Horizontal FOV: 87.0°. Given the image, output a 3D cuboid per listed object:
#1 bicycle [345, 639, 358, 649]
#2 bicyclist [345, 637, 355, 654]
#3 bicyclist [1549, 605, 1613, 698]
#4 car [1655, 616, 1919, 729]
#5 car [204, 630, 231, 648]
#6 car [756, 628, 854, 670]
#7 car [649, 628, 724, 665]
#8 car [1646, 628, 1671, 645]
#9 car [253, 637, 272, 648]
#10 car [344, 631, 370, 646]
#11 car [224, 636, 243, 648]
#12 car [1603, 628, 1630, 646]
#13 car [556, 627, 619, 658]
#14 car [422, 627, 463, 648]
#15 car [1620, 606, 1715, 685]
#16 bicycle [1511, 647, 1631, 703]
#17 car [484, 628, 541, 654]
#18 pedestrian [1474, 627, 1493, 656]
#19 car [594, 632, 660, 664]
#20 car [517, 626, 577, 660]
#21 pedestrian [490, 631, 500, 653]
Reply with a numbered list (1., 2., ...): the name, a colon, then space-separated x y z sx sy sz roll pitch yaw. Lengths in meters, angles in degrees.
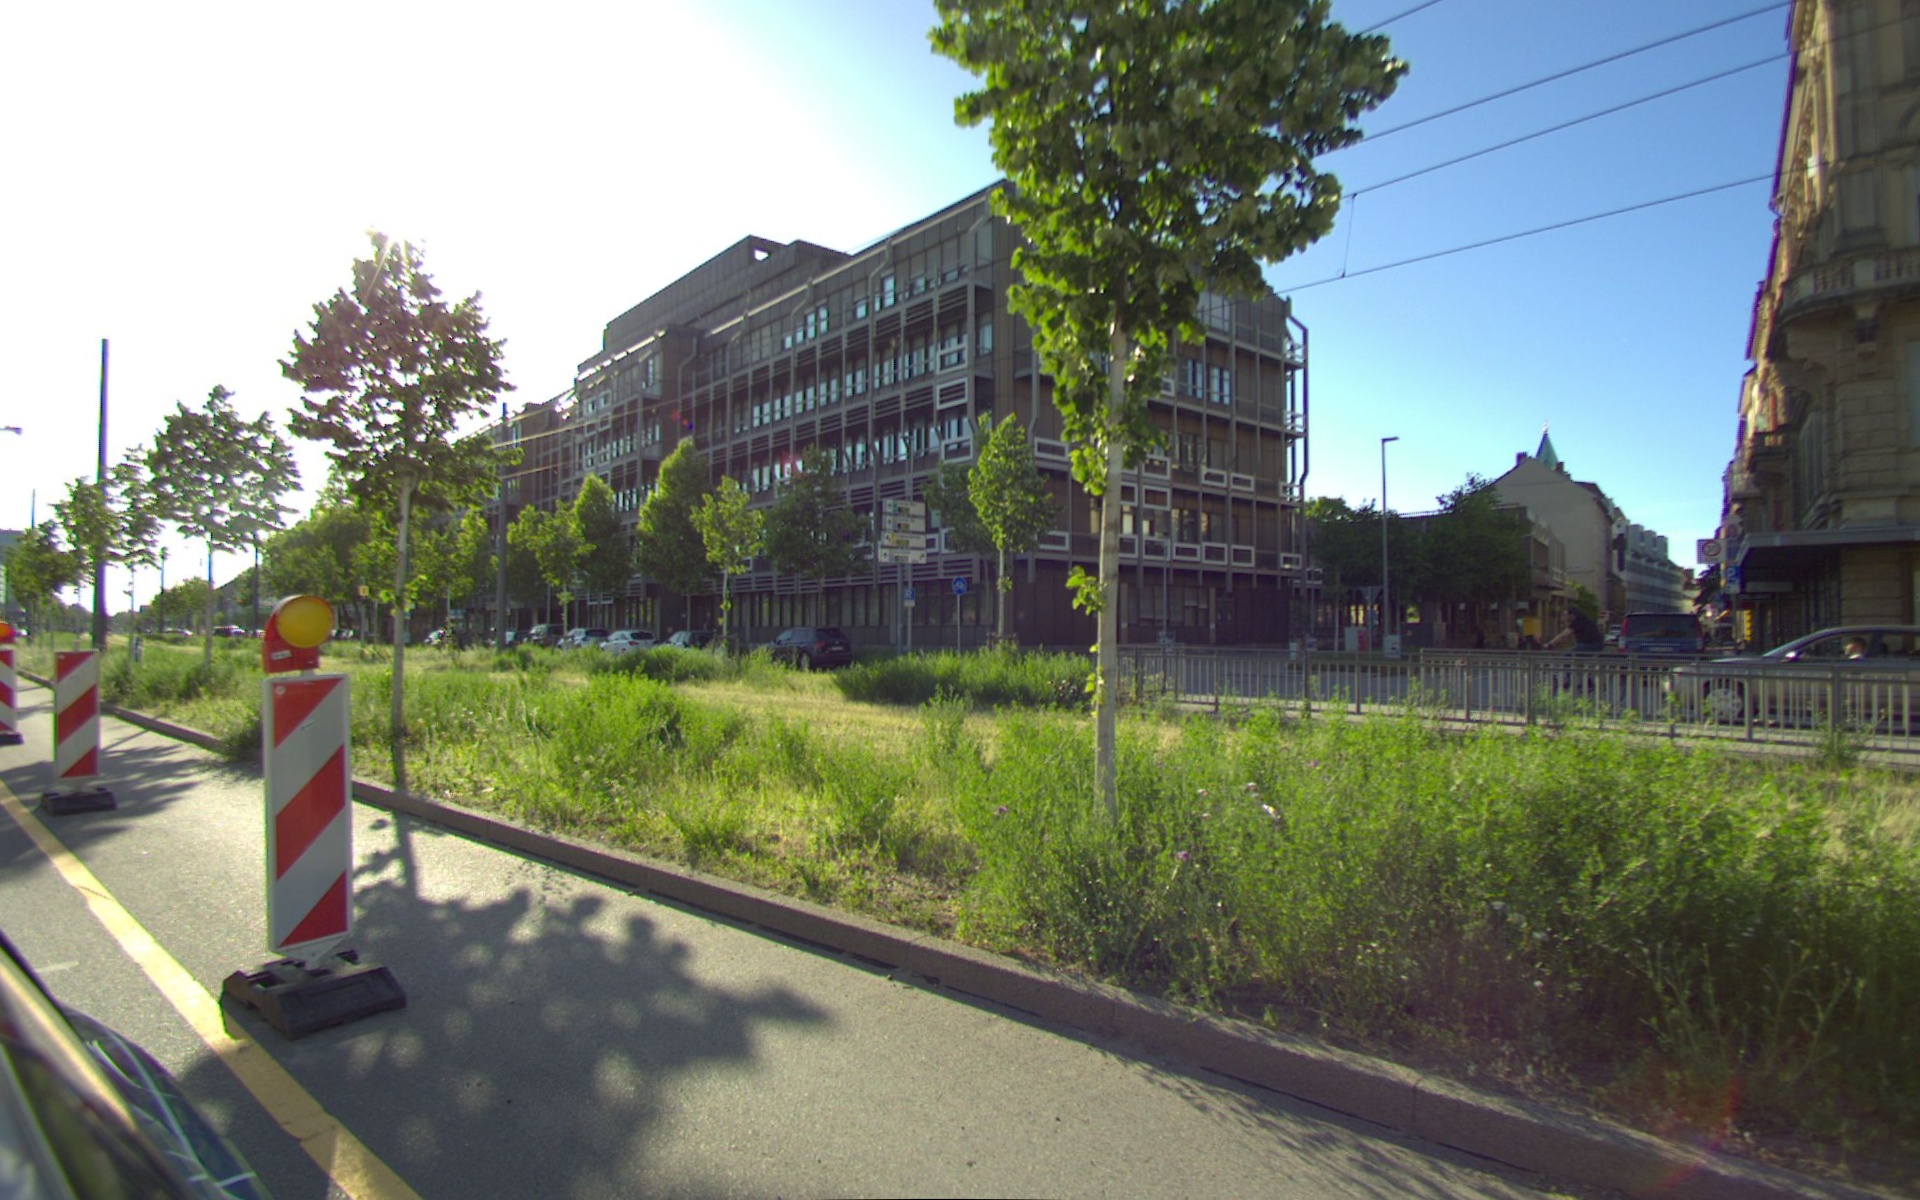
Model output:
1. bicycle: -52.344 3.810 87.068 0.558 0.884 1.772 3 -4 -43
2. bicyclist: -52.701 3.959 87.434 0.558 1.468 0.706 3 -4 -43
3. bicyclist: 11.557 0.944 18.833 0.882 1.670 0.688 -2 -2 41
4. car: 12.193 0.968 13.992 4.067 1.431 1.833 -2 -4 41
5. car: -77.625 4.062 105.790 1.708 1.760 4.124 1 -2 -44
6. car: -5.954 1.831 38.631 3.901 1.472 1.711 -2 -1 44
7. car: -12.230 2.050 45.074 1.629 1.566 3.971 1 -2 -42
8. car: 68.579 3.538 99.385 1.866 1.652 3.950 -1 -2 36
9. car: -91.718 5.580 132.980 1.607 1.507 4.423 2 -3 -40
10. car: -65.809 4.177 110.404 1.701 1.555 3.635 -1 -1 -42
11. car: -95.210 5.458 132.602 1.608 1.507 3.784 2 -3 -41
12. car: 60.820 3.403 93.788 1.854 1.586 3.951 -1 -2 36
13. car: -19.468 2.224 52.814 1.717 1.548 3.889 0 -2 -42
14. car: -36.712 2.615 71.792 1.695 1.397 4.045 -1 -1 -41
15. car: 18.900 1.188 27.063 1.894 1.918 4.469 -2 -3 35
16. bicycle: 11.417 1.380 18.939 1.826 0.985 0.688 -2 -2 41
17. car: -26.700 2.439 60.347 1.709 1.480 4.508 -1 -1 -43
18. pedestrian: 27.911 2.192 53.975 0.608 1.527 0.737 2 -3 -42
19. car: -16.076 2.271 48.733 1.605 1.452 3.823 0 -1 -42
20. car: -23.012 2.371 56.347 1.729 1.785 4.336 0 -2 -42
21. pedestrian: -33.901 3.063 73.751 0.514 1.590 0.537 2 -3 -39
